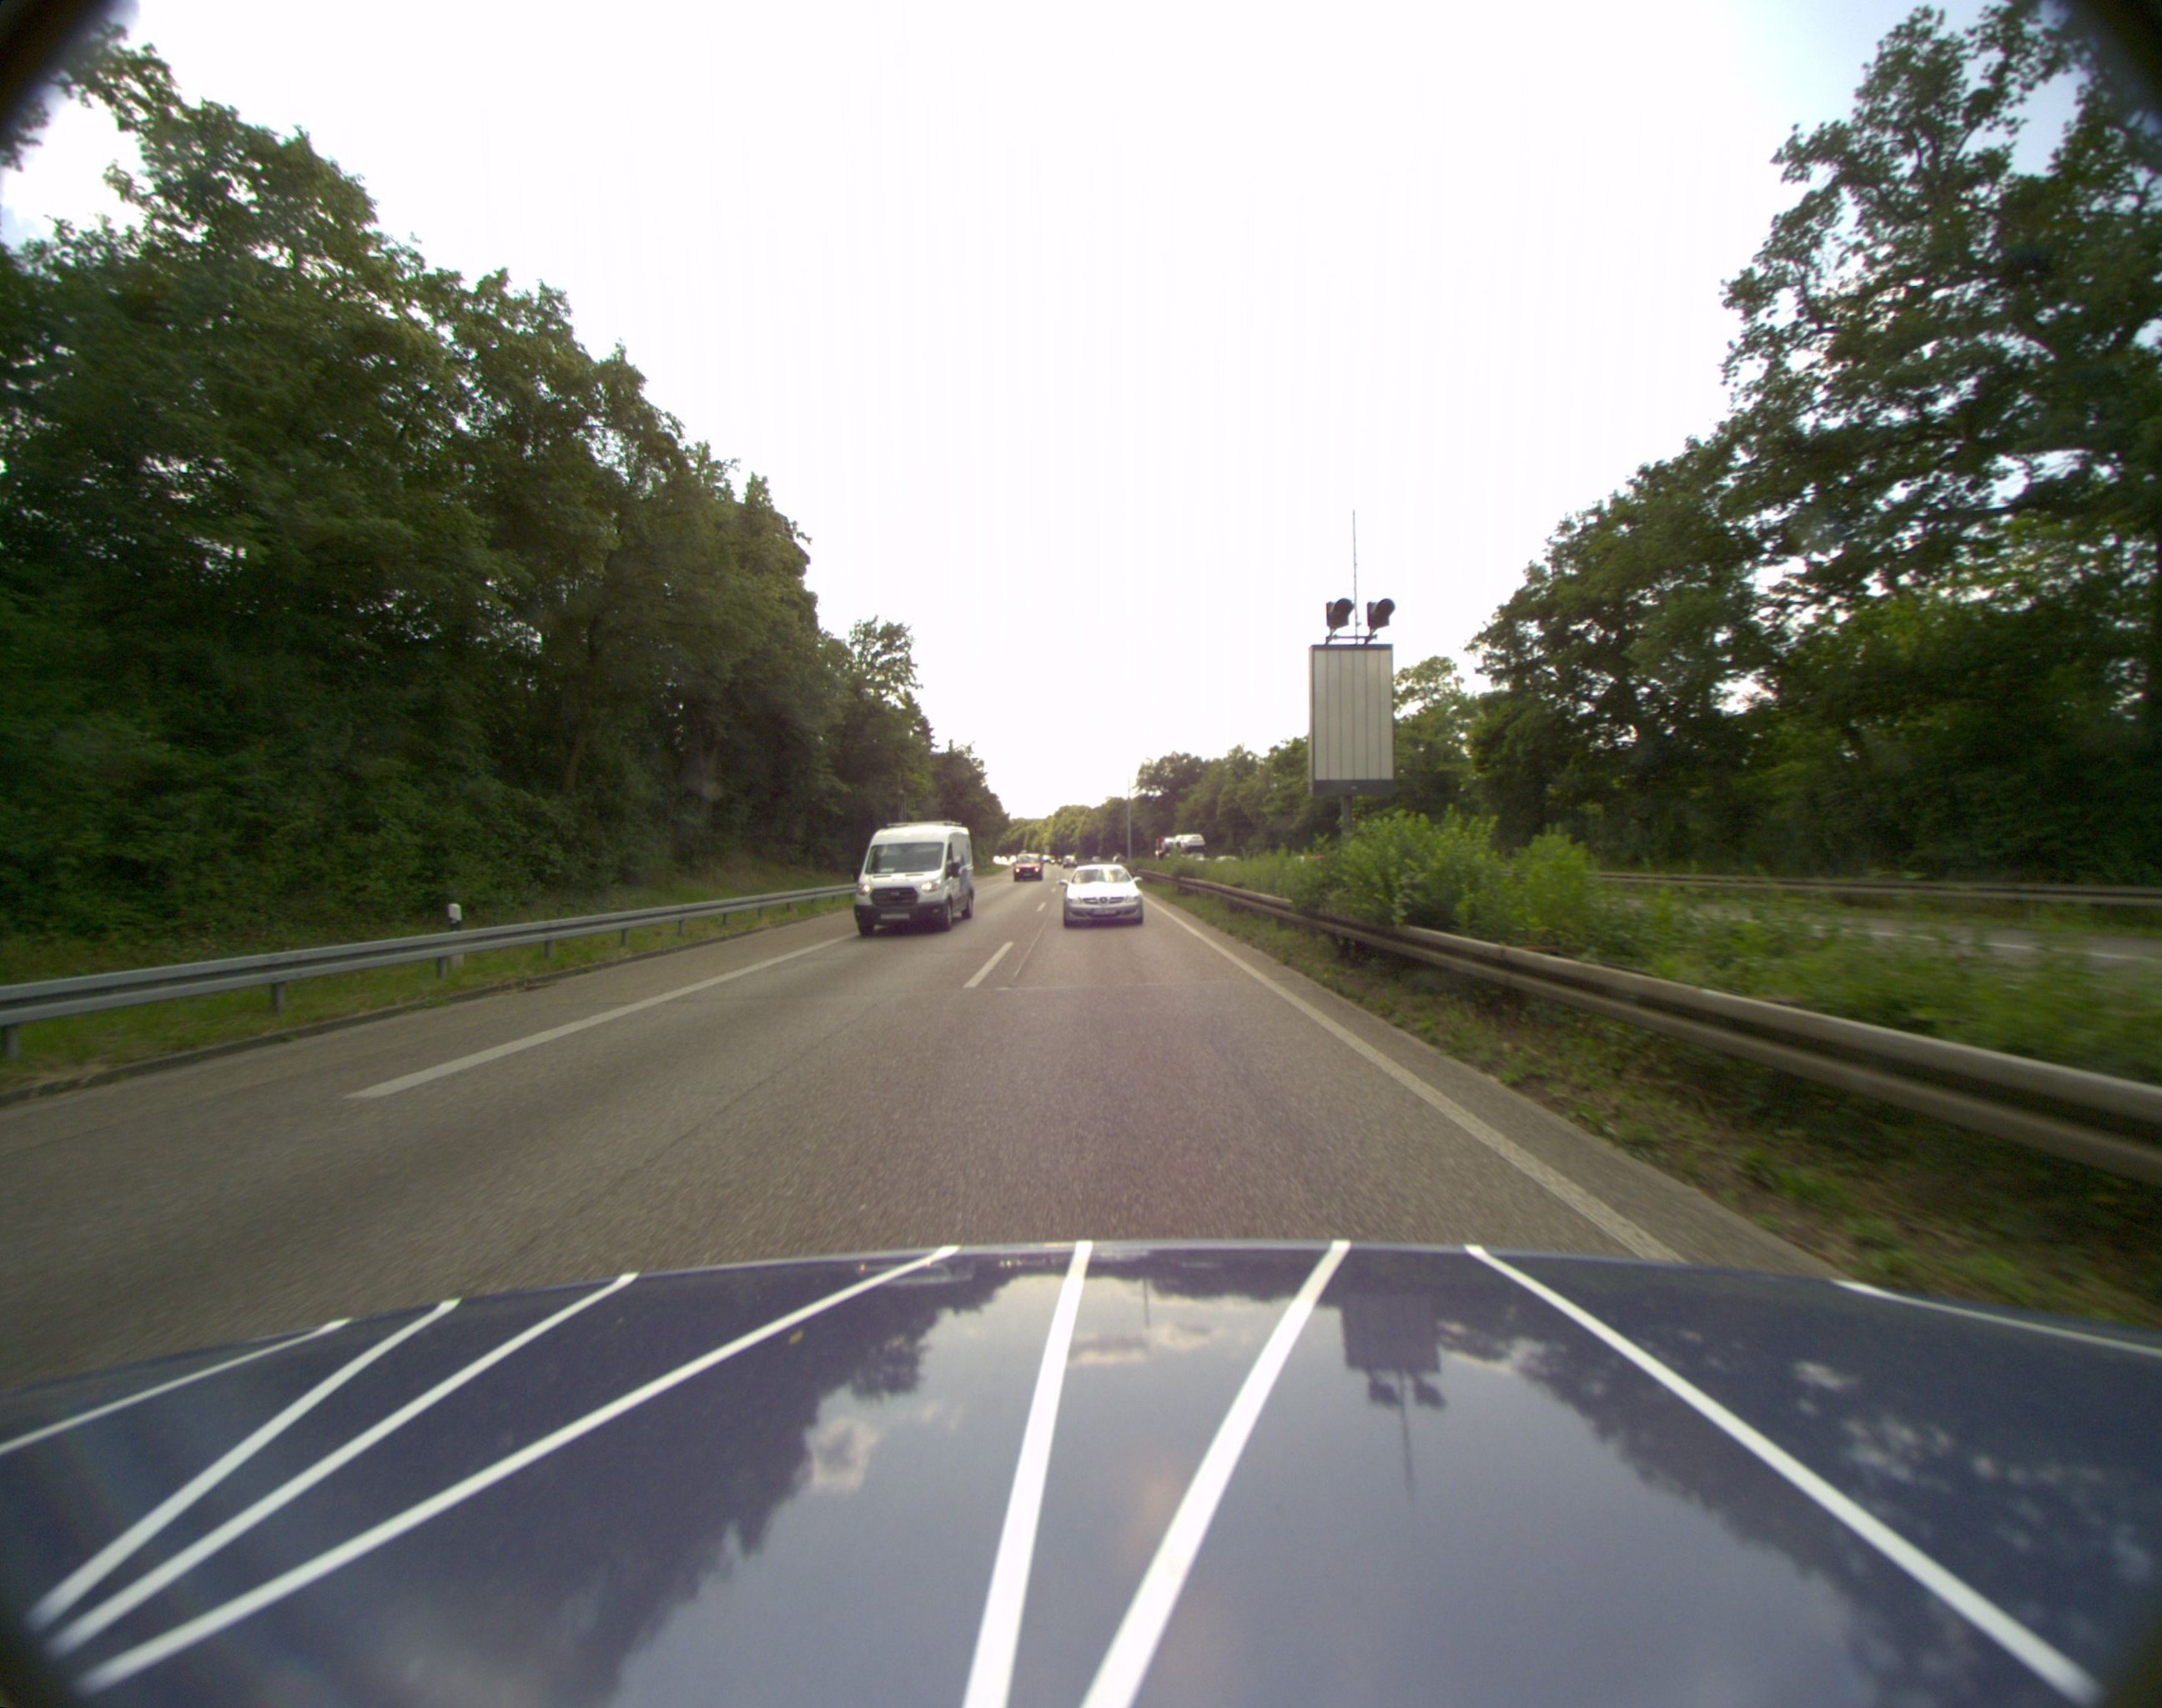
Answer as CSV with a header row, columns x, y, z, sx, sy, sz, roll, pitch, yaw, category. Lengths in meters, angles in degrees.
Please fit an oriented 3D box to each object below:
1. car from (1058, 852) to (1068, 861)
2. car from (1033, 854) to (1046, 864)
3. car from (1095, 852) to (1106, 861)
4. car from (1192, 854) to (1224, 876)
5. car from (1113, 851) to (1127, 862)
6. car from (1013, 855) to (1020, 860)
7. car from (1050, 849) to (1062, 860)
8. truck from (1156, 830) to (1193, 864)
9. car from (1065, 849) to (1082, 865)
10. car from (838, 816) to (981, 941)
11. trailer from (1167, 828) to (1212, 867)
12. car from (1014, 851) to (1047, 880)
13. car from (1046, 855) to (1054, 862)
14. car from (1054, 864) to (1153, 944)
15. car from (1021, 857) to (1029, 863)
x,y,z,sx,sy,sz,roll,pitch,yaw,category
-2.997,0.402,125.195,1.473,1.560,3.293,-1,0,-5,car
-6.351,0.788,117.019,1.889,1.516,3.999,-1,0,-2,car
3.510,0.505,138.973,1.710,1.559,4.030,-1,0,-2,car
8.704,0.720,52.404,1.618,1.415,3.323,-1,0,0,car
5.751,0.378,111.267,1.678,1.542,4.262,-1,0,-2,car
-19.130,0.987,225.650,1.786,1.513,3.999,-1,0,-3,car
-4.598,0.055,140.647,1.999,2.002,3.998,-1,0,-6,car
11.023,-0.787,90.738,2.963,3.833,10.321,-1,0,-1,truck
-1.026,0.389,99.262,1.999,2.002,3.998,-1,0,-3,car
-3.898,0.488,18.389,2.104,2.493,5.278,-3,0,1,car
11.312,-0.704,80.447,2.946,3.811,10.307,-1,0,-2,trailer
-3.450,0.774,52.790,1.908,1.795,4.395,-3,0,0,car
-6.563,0.939,160.920,1.700,1.579,3.998,-1,0,-4,car
0.475,0.953,16.553,1.751,1.295,5.223,-3,0,1,car
-13.707,1.428,185.829,1.786,1.513,3.998,-1,0,-4,car
